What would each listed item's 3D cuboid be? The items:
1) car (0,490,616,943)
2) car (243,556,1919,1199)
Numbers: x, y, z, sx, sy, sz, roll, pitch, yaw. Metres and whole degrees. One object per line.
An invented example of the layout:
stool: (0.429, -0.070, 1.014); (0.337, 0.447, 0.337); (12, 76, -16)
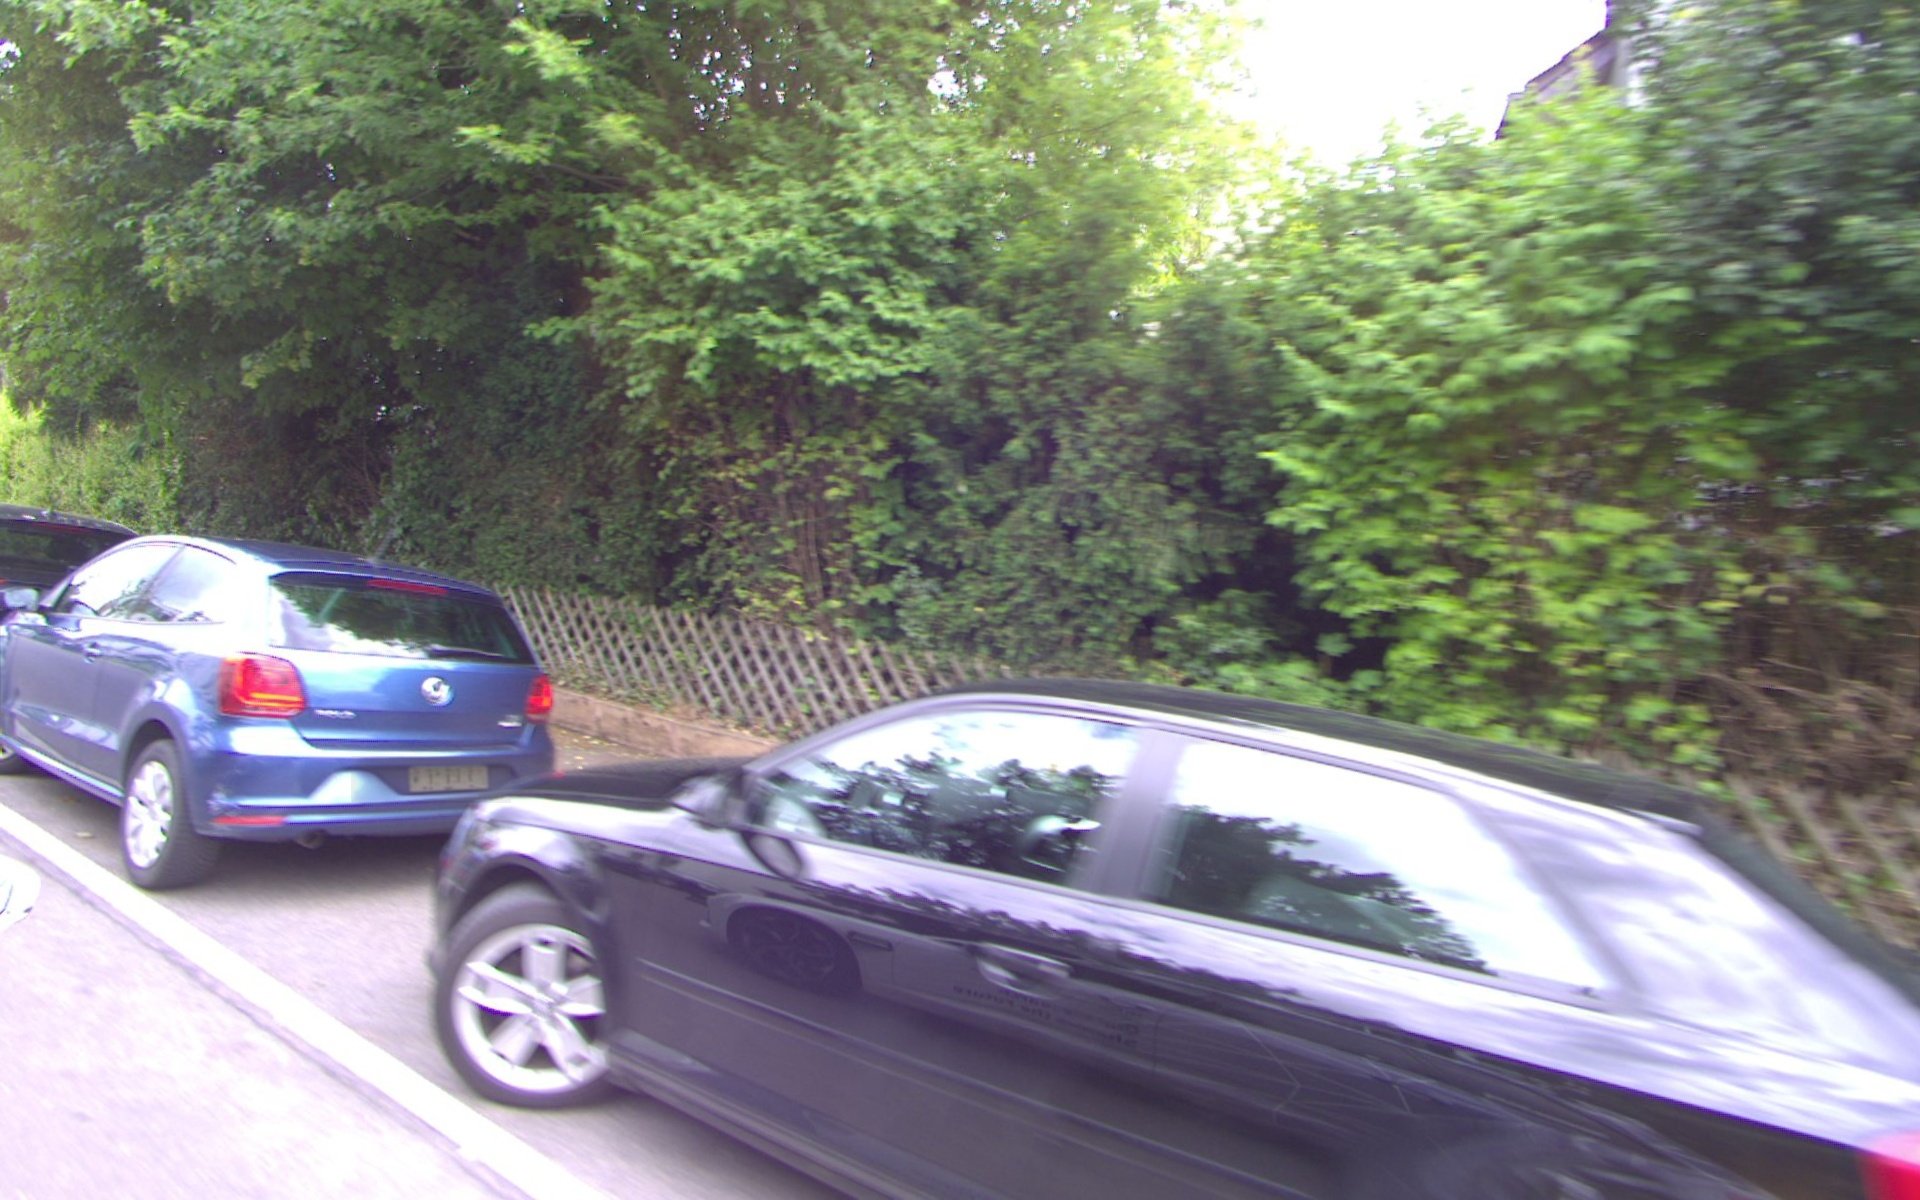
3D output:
car: (-3.973, 0.353, 5.422); (4.092, 1.526, 1.700); (7, -2, 33)
car: (0.168, 0.858, 2.864); (4.303, 1.471, 1.812); (7, 1, 28)
